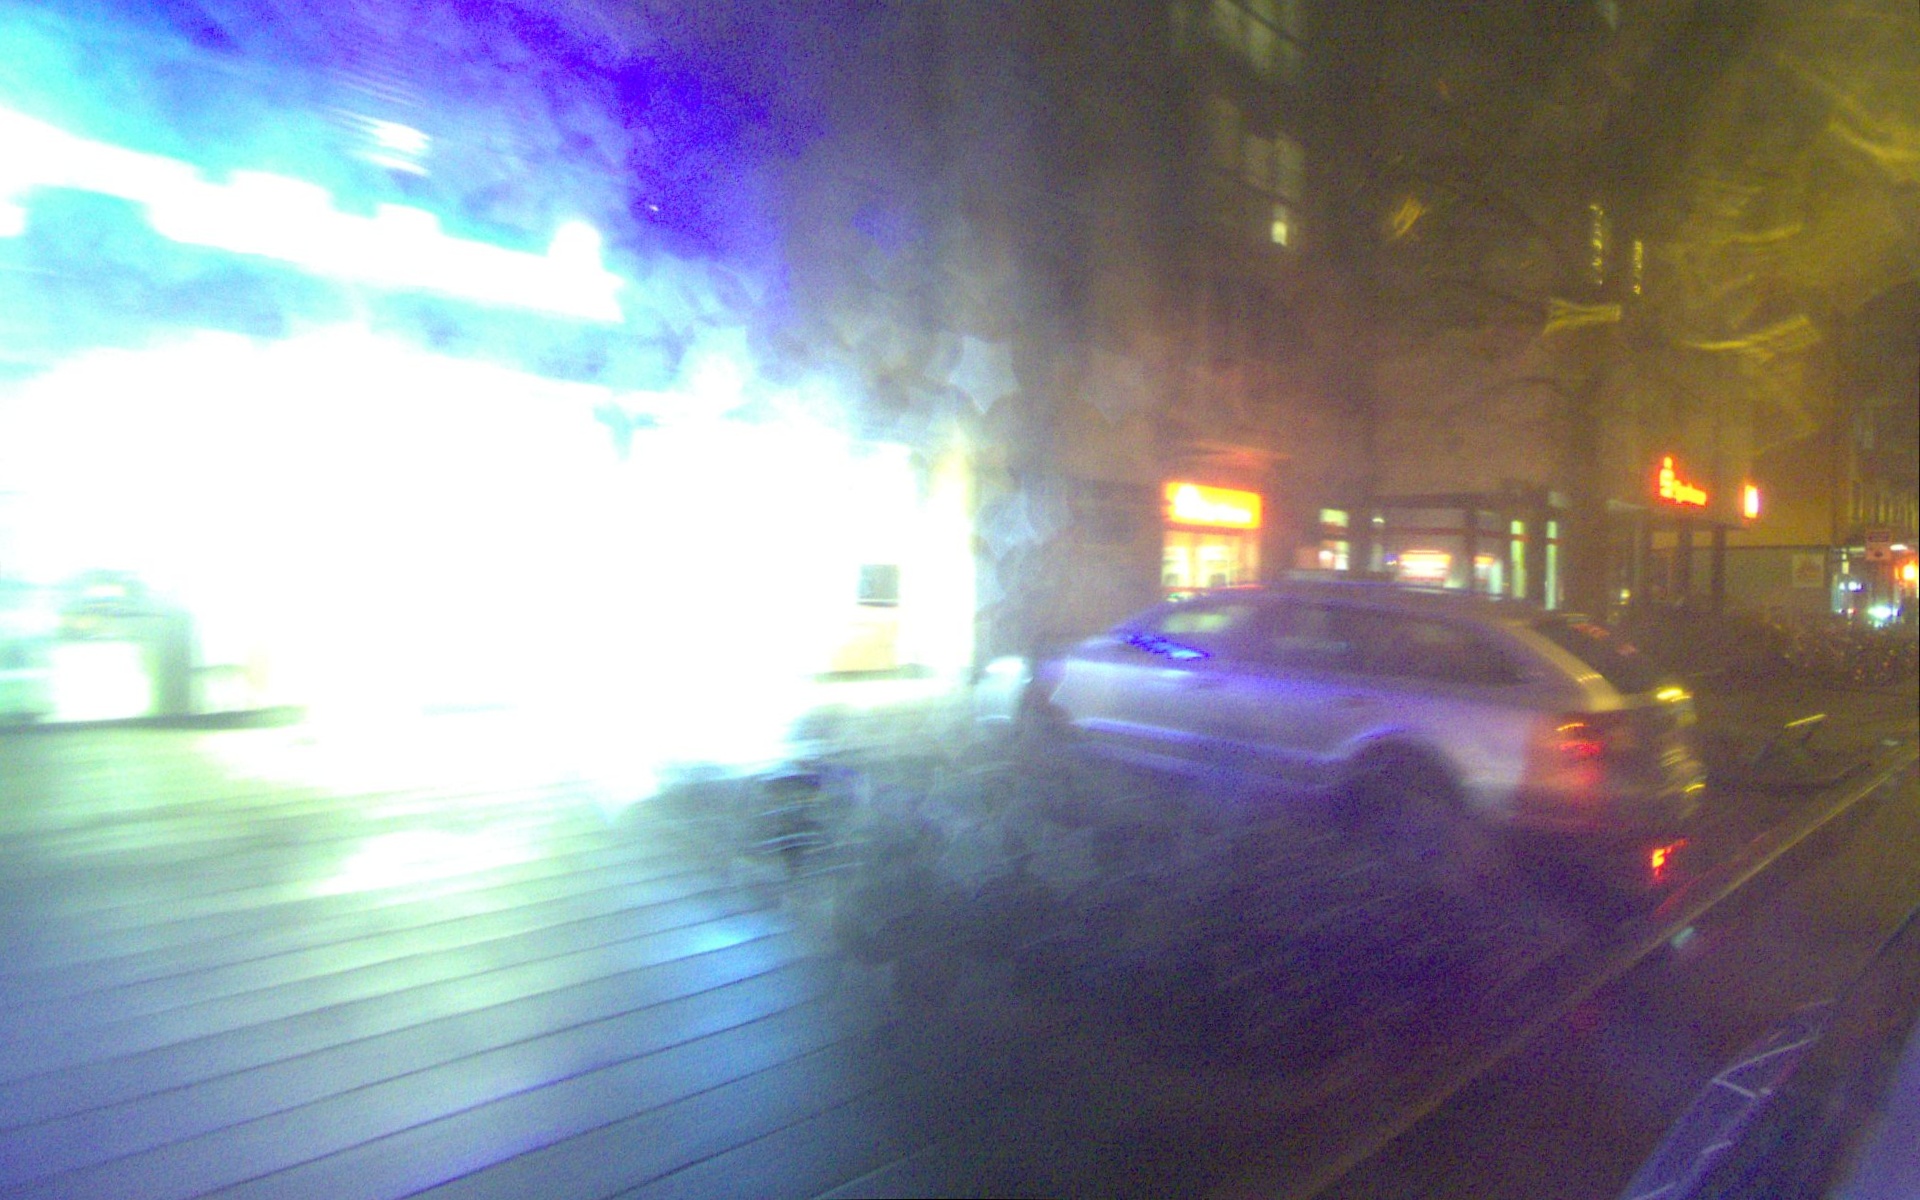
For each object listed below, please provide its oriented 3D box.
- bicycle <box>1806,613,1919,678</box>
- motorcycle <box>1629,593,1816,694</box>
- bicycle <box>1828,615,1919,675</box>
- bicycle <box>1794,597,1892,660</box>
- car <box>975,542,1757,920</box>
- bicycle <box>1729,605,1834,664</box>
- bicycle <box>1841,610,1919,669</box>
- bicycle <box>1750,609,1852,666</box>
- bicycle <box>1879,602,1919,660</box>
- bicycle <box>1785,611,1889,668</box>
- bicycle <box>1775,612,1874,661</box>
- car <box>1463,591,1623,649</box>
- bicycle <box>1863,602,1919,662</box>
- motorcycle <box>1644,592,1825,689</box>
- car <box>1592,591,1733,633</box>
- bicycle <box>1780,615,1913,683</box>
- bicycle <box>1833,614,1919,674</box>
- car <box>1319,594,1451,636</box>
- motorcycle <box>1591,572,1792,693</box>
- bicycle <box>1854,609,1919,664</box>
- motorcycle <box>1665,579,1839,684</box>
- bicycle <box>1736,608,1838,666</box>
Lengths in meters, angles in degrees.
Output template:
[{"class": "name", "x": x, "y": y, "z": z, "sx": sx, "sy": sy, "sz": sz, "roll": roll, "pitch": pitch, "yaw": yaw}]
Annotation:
[{"class": "bicycle", "x": 16.600, "y": 0.815, "z": 18.566, "sx": 0.359, "sy": 0.963, "sz": 1.536, "roll": 0, "pitch": 6, "yaw": -33}, {"class": "motorcycle", "x": 12.131, "y": 0.641, "z": 16.175, "sx": 0.851, "sy": 1.334, "sz": 2.178, "roll": 0, "pitch": 5, "yaw": -40}, {"class": "bicycle", "x": 17.688, "y": 0.859, "z": 19.356, "sx": 0.360, "sy": 0.963, "sz": 1.531, "roll": -1, "pitch": 7, "yaw": -43}, {"class": "bicycle", "x": 20.047, "y": 0.635, "z": 23.014, "sx": 0.360, "sy": 1.216, "sz": 1.533, "roll": -1, "pitch": 7, "yaw": -41}, {"class": "car", "x": 2.268, "y": 0.487, "z": 6.787, "sx": 1.749, "sy": 1.549, "sz": 4.523, "roll": 0, "pitch": 4, "yaw": -40}, {"class": "bicycle", "x": 16.591, "y": 0.679, "z": 20.467, "sx": 0.360, "sy": 0.963, "sz": 1.531, "roll": -1, "pitch": 7, "yaw": -43}, {"class": "bicycle", "x": 19.305, "y": 0.823, "z": 20.900, "sx": 0.359, "sy": 1.035, "sz": 1.535, "roll": 0, "pitch": 7, "yaw": -36}, {"class": "bicycle", "x": 17.518, "y": 0.768, "z": 21.105, "sx": 0.360, "sy": 0.963, "sz": 1.531, "roll": -1, "pitch": 7, "yaw": -43}, {"class": "bicycle", "x": 21.624, "y": 0.735, "z": 22.550, "sx": 0.359, "sy": 1.216, "sz": 1.534, "roll": 0, "pitch": 7, "yaw": -37}, {"class": "bicycle", "x": 18.414, "y": 0.811, "z": 21.284, "sx": 0.359, "sy": 0.963, "sz": 1.535, "roll": 0, "pitch": 7, "yaw": -36}, {"class": "bicycle", "x": 18.870, "y": 0.786, "z": 22.119, "sx": 0.319, "sy": 0.843, "sz": 1.535, "roll": 0, "pitch": 7, "yaw": -36}, {"class": "car", "x": 18.937, "y": 0.625, "z": 33.010, "sx": 1.809, "sy": 1.793, "sz": 4.154, "roll": 0, "pitch": -1, "yaw": -39}, {"class": "bicycle", "x": 21.145, "y": 0.744, "z": 22.432, "sx": 0.360, "sy": 1.216, "sz": 1.533, "roll": -1, "pitch": 7, "yaw": -41}, {"class": "motorcycle", "x": 12.807, "y": 0.627, "z": 16.796, "sx": 0.851, "sy": 1.334, "sz": 2.178, "roll": 0, "pitch": 5, "yaw": -40}, {"class": "car", "x": 26.433, "y": 0.454, "z": 38.177, "sx": 1.861, "sy": 1.504, "sz": 3.996, "roll": 0, "pitch": -1, "yaw": -39}, {"class": "bicycle", "x": 15.955, "y": 0.860, "z": 18.262, "sx": 0.359, "sy": 0.963, "sz": 1.678, "roll": 0, "pitch": 6, "yaw": -33}, {"class": "bicycle", "x": 18.011, "y": 0.854, "z": 19.633, "sx": 0.360, "sy": 0.963, "sz": 1.531, "roll": -1, "pitch": 7, "yaw": -43}, {"class": "car", "x": 15.613, "y": 0.526, "z": 37.320, "sx": 1.809, "sy": 1.452, "sz": 4.154, "roll": 0, "pitch": -1, "yaw": -39}, {"class": "motorcycle", "x": 11.302, "y": 0.447, "z": 15.724, "sx": 0.851, "sy": 1.607, "sz": 2.294, "roll": 0, "pitch": 5, "yaw": -40}, {"class": "bicycle", "x": 20.294, "y": 0.812, "z": 21.718, "sx": 0.360, "sy": 1.035, "sz": 1.533, "roll": -1, "pitch": 7, "yaw": -41}, {"class": "motorcycle", "x": 13.781, "y": 0.502, "z": 17.677, "sx": 0.851, "sy": 1.565, "sz": 2.178, "roll": 0, "pitch": 5, "yaw": -40}, {"class": "bicycle", "x": 17.091, "y": 0.751, "z": 20.949, "sx": 0.360, "sy": 0.963, "sz": 1.531, "roll": -1, "pitch": 7, "yaw": -44}]
